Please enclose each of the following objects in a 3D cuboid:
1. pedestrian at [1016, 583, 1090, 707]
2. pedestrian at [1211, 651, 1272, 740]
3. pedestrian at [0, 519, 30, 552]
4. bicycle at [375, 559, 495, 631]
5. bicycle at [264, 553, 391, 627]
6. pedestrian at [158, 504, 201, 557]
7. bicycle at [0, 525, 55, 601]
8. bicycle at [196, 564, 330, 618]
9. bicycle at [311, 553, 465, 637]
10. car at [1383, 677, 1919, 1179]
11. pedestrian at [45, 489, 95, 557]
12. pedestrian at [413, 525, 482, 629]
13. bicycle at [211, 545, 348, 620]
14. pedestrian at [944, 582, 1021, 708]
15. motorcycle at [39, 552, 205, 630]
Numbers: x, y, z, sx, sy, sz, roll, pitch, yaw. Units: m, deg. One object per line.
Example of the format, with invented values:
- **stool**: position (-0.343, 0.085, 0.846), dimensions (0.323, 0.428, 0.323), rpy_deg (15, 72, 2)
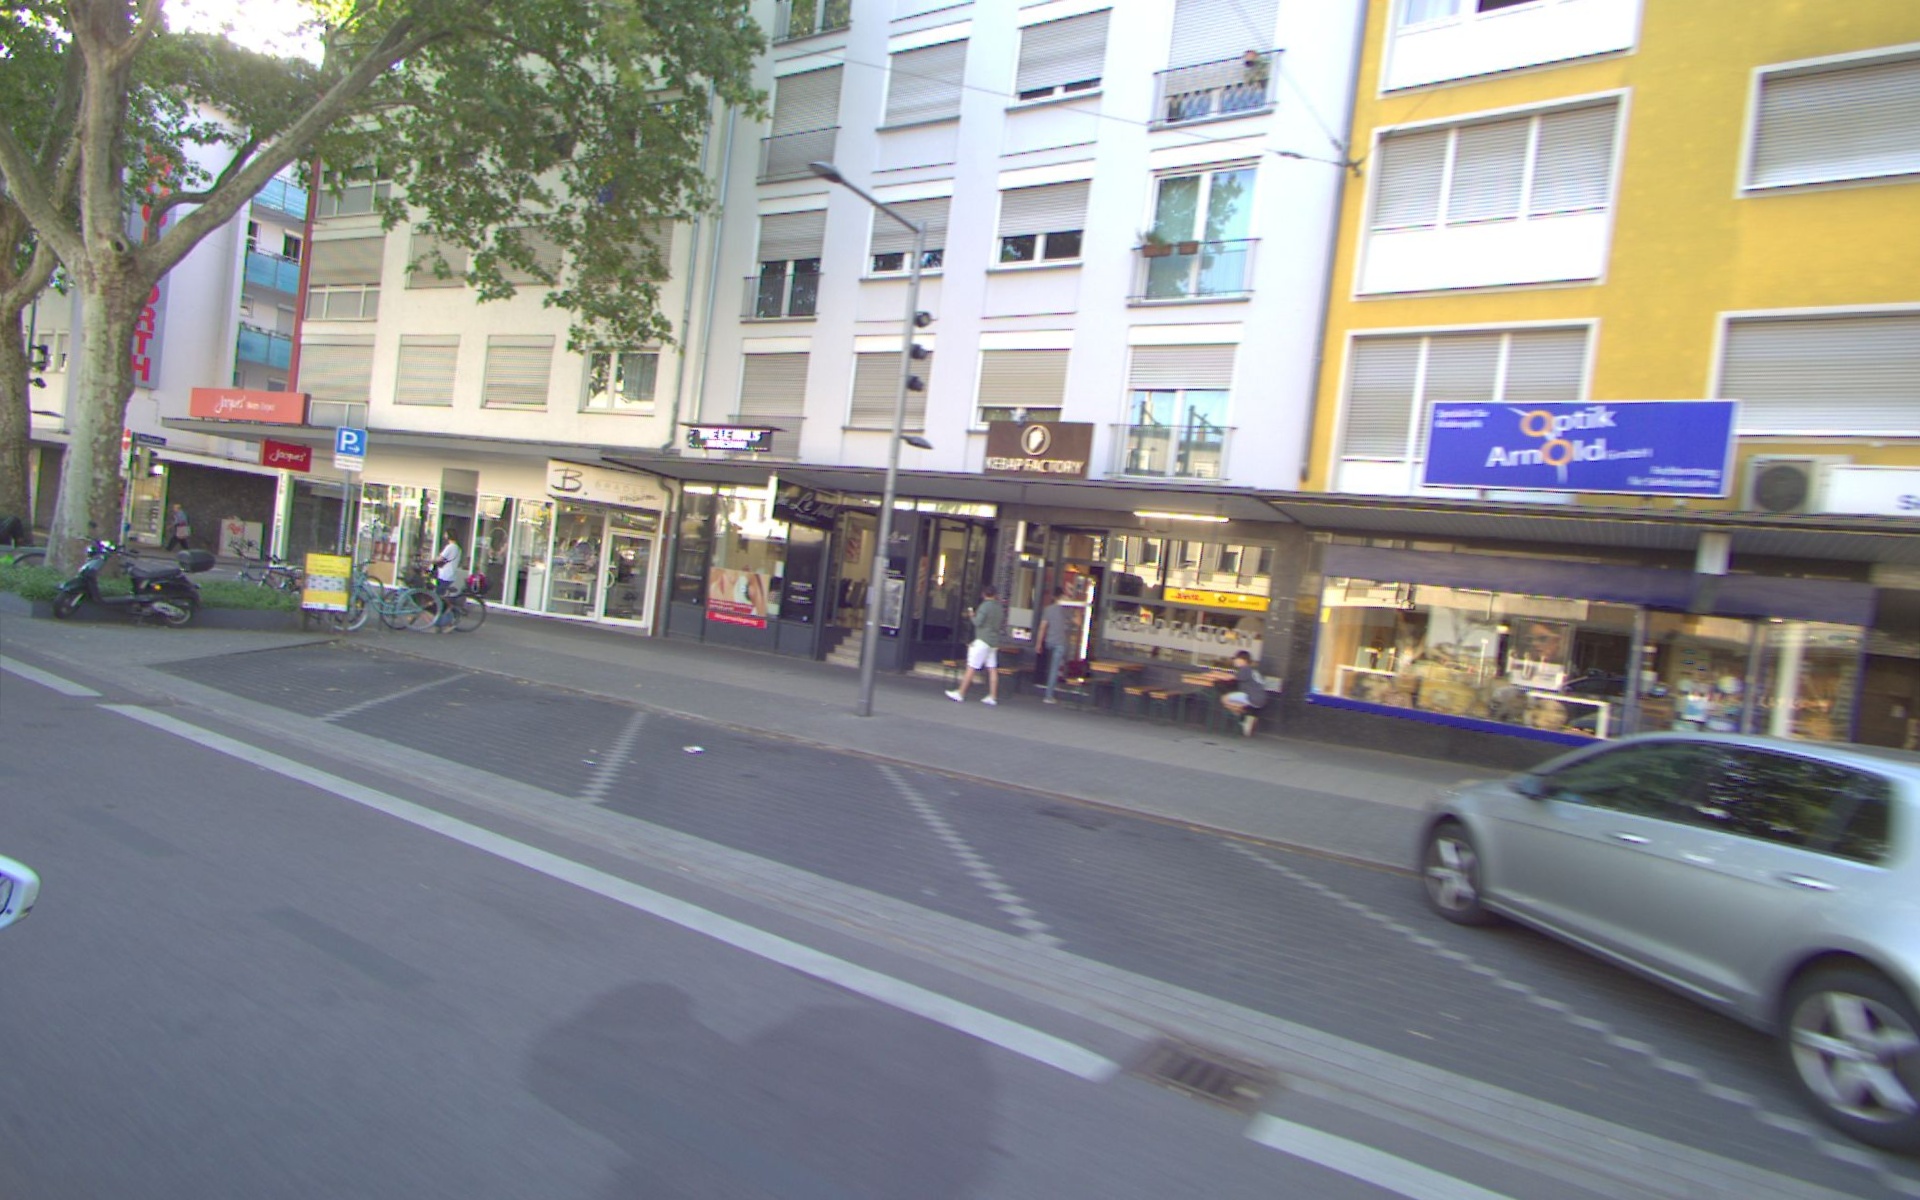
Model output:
- **pedestrian**: position (1.521, 0.728, 16.355), dimensions (0.724, 1.900, 0.912), rpy_deg (7, 1, 28)
- **pedestrian**: position (4.028, 1.362, 14.411), dimensions (0.615, 1.172, 0.418), rpy_deg (7, 1, 35)
- **pedestrian**: position (-19.581, -1.361, 20.176), dimensions (0.474, 0.596, 1.256), rpy_deg (7, -1, 29)
- **bicycle**: position (-9.532, -0.073, 18.306), dimensions (0.668, 1.169, 1.761), rpy_deg (7, 2, 40)
- **bicycle**: position (-11.114, -0.170, 17.742), dimensions (0.660, 1.205, 1.788), rpy_deg (6, 2, 23)
- **pedestrian**: position (-27.170, -2.418, 35.009), dimensions (0.820, 1.700, 0.749), rpy_deg (9, 2, 25)
- **bicycle**: position (-15.293, -0.648, 15.730), dimensions (0.453, 1.117, 1.513), rpy_deg (7, -3, 32)
- **bicycle**: position (-12.882, -0.152, 18.644), dimensions (0.701, 0.775, 1.874), rpy_deg (7, 0, 39)
- **bicycle**: position (-9.788, -0.066, 17.294), dimensions (0.818, 1.248, 2.080), rpy_deg (7, 1, 36)
- **car**: position (4.155, 1.386, 5.101), dimensions (1.778, 1.469, 4.173), rpy_deg (6, 0, -6)
- **pedestrian**: position (-25.675, -2.221, 29.024), dimensions (0.751, 1.816, 0.781), rpy_deg (7, 1, 31)
- **pedestrian**: position (-9.882, -0.440, 19.409), dimensions (0.809, 1.900, 0.645), rpy_deg (7, 1, 18)
- **bicycle**: position (-12.131, -0.295, 17.983), dimensions (0.701, 1.205, 1.872), rpy_deg (7, 3, 39)
- **pedestrian**: position (0.340, 0.668, 15.359), dimensions (0.776, 1.816, 0.705), rpy_deg (7, 4, 37)
- **motorcycle**: position (-11.200, -0.094, 13.502), dimensions (0.535, 0.903, 1.573), rpy_deg (7, 0, 28)
